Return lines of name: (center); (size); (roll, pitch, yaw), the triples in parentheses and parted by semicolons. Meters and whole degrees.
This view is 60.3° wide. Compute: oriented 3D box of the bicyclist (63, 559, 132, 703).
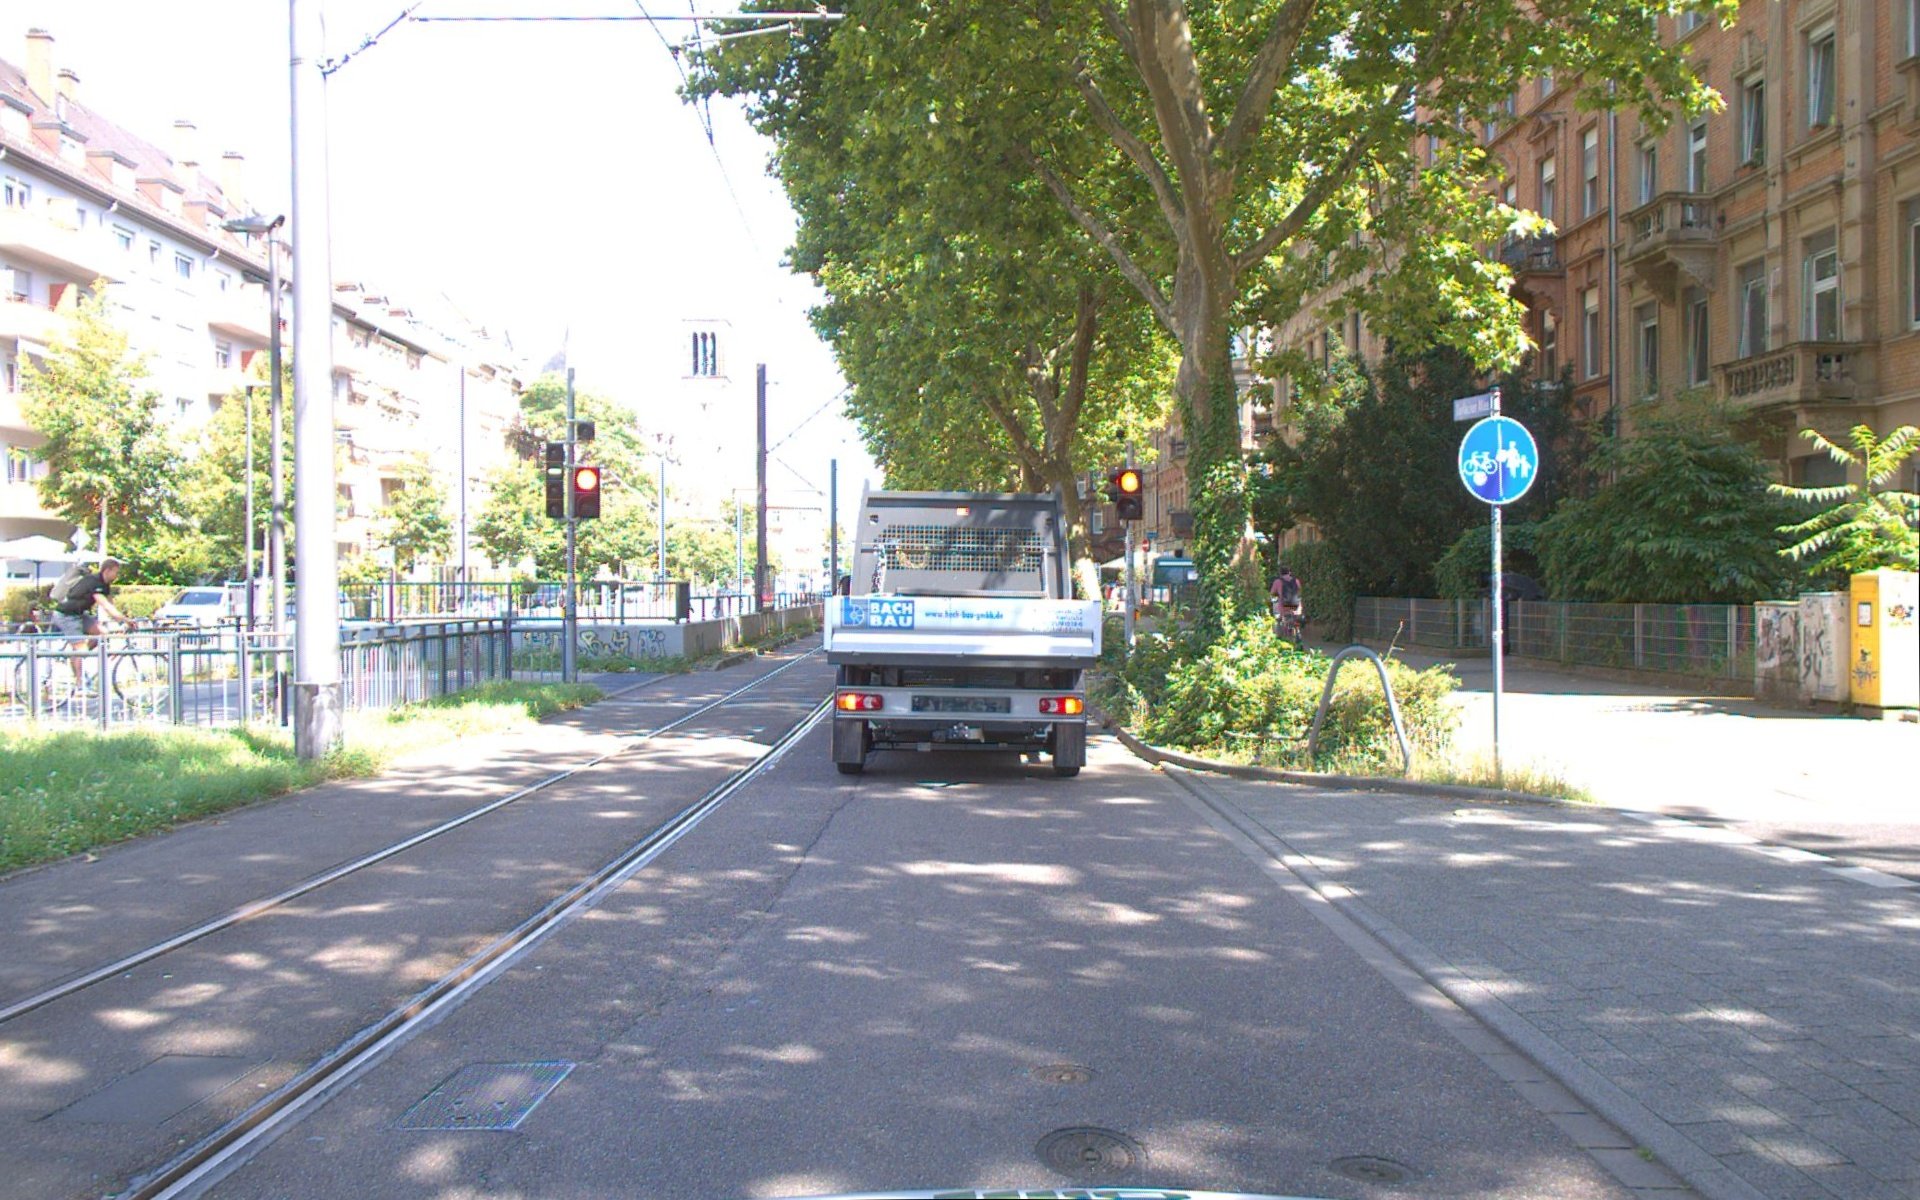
bicyclist: (-10.073, 0.351, 19.327); (0.684, 1.651, 0.619); (-1, 0, -27)

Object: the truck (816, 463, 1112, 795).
truck: (0.028, 0.195, 14.223); (2.094, 2.359, 4.401); (1, 0, 0)

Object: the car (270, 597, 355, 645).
car: (-22.357, 0.685, 57.256); (1.737, 1.524, 3.994); (-2, 1, -7)

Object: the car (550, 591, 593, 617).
car: (-23.520, 0.242, 100.224); (1.735, 1.524, 3.998); (-1, 0, -2)

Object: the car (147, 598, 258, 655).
car: (-22.219, 0.738, 48.663); (1.737, 1.524, 3.994); (-2, 1, -7)

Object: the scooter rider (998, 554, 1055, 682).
scooter rider: (1.008, 0.266, 25.085); (0.657, 1.899, 0.660); (-1, 0, -20)

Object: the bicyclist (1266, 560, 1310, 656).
bicyclist: (5.537, 0.125, 27.944); (0.625, 1.601, 0.579); (-1, 0, 0)

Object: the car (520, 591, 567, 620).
car: (-23.220, 0.289, 92.392); (1.735, 1.524, 3.998); (-1, 0, -2)

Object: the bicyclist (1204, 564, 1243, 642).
bicyclist: (5.449, 0.065, 34.190); (0.666, 1.591, 0.777); (-1, 0, 0)

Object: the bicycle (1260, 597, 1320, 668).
bicycle: (5.531, 0.519, 27.860); (0.553, 1.131, 2.310); (-1, 0, 0)

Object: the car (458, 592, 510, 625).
car: (-22.718, 0.367, 79.037); (1.737, 1.524, 3.994); (-1, 0, -7)

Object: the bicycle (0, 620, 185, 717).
bicycle: (-10.106, 0.780, 19.315); (1.897, 1.067, 0.528); (-1, 0, -28)

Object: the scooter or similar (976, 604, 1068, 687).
scooter or similar: (0.932, 0.678, 25.053); (1.247, 1.225, 0.654); (0, 0, -20)
